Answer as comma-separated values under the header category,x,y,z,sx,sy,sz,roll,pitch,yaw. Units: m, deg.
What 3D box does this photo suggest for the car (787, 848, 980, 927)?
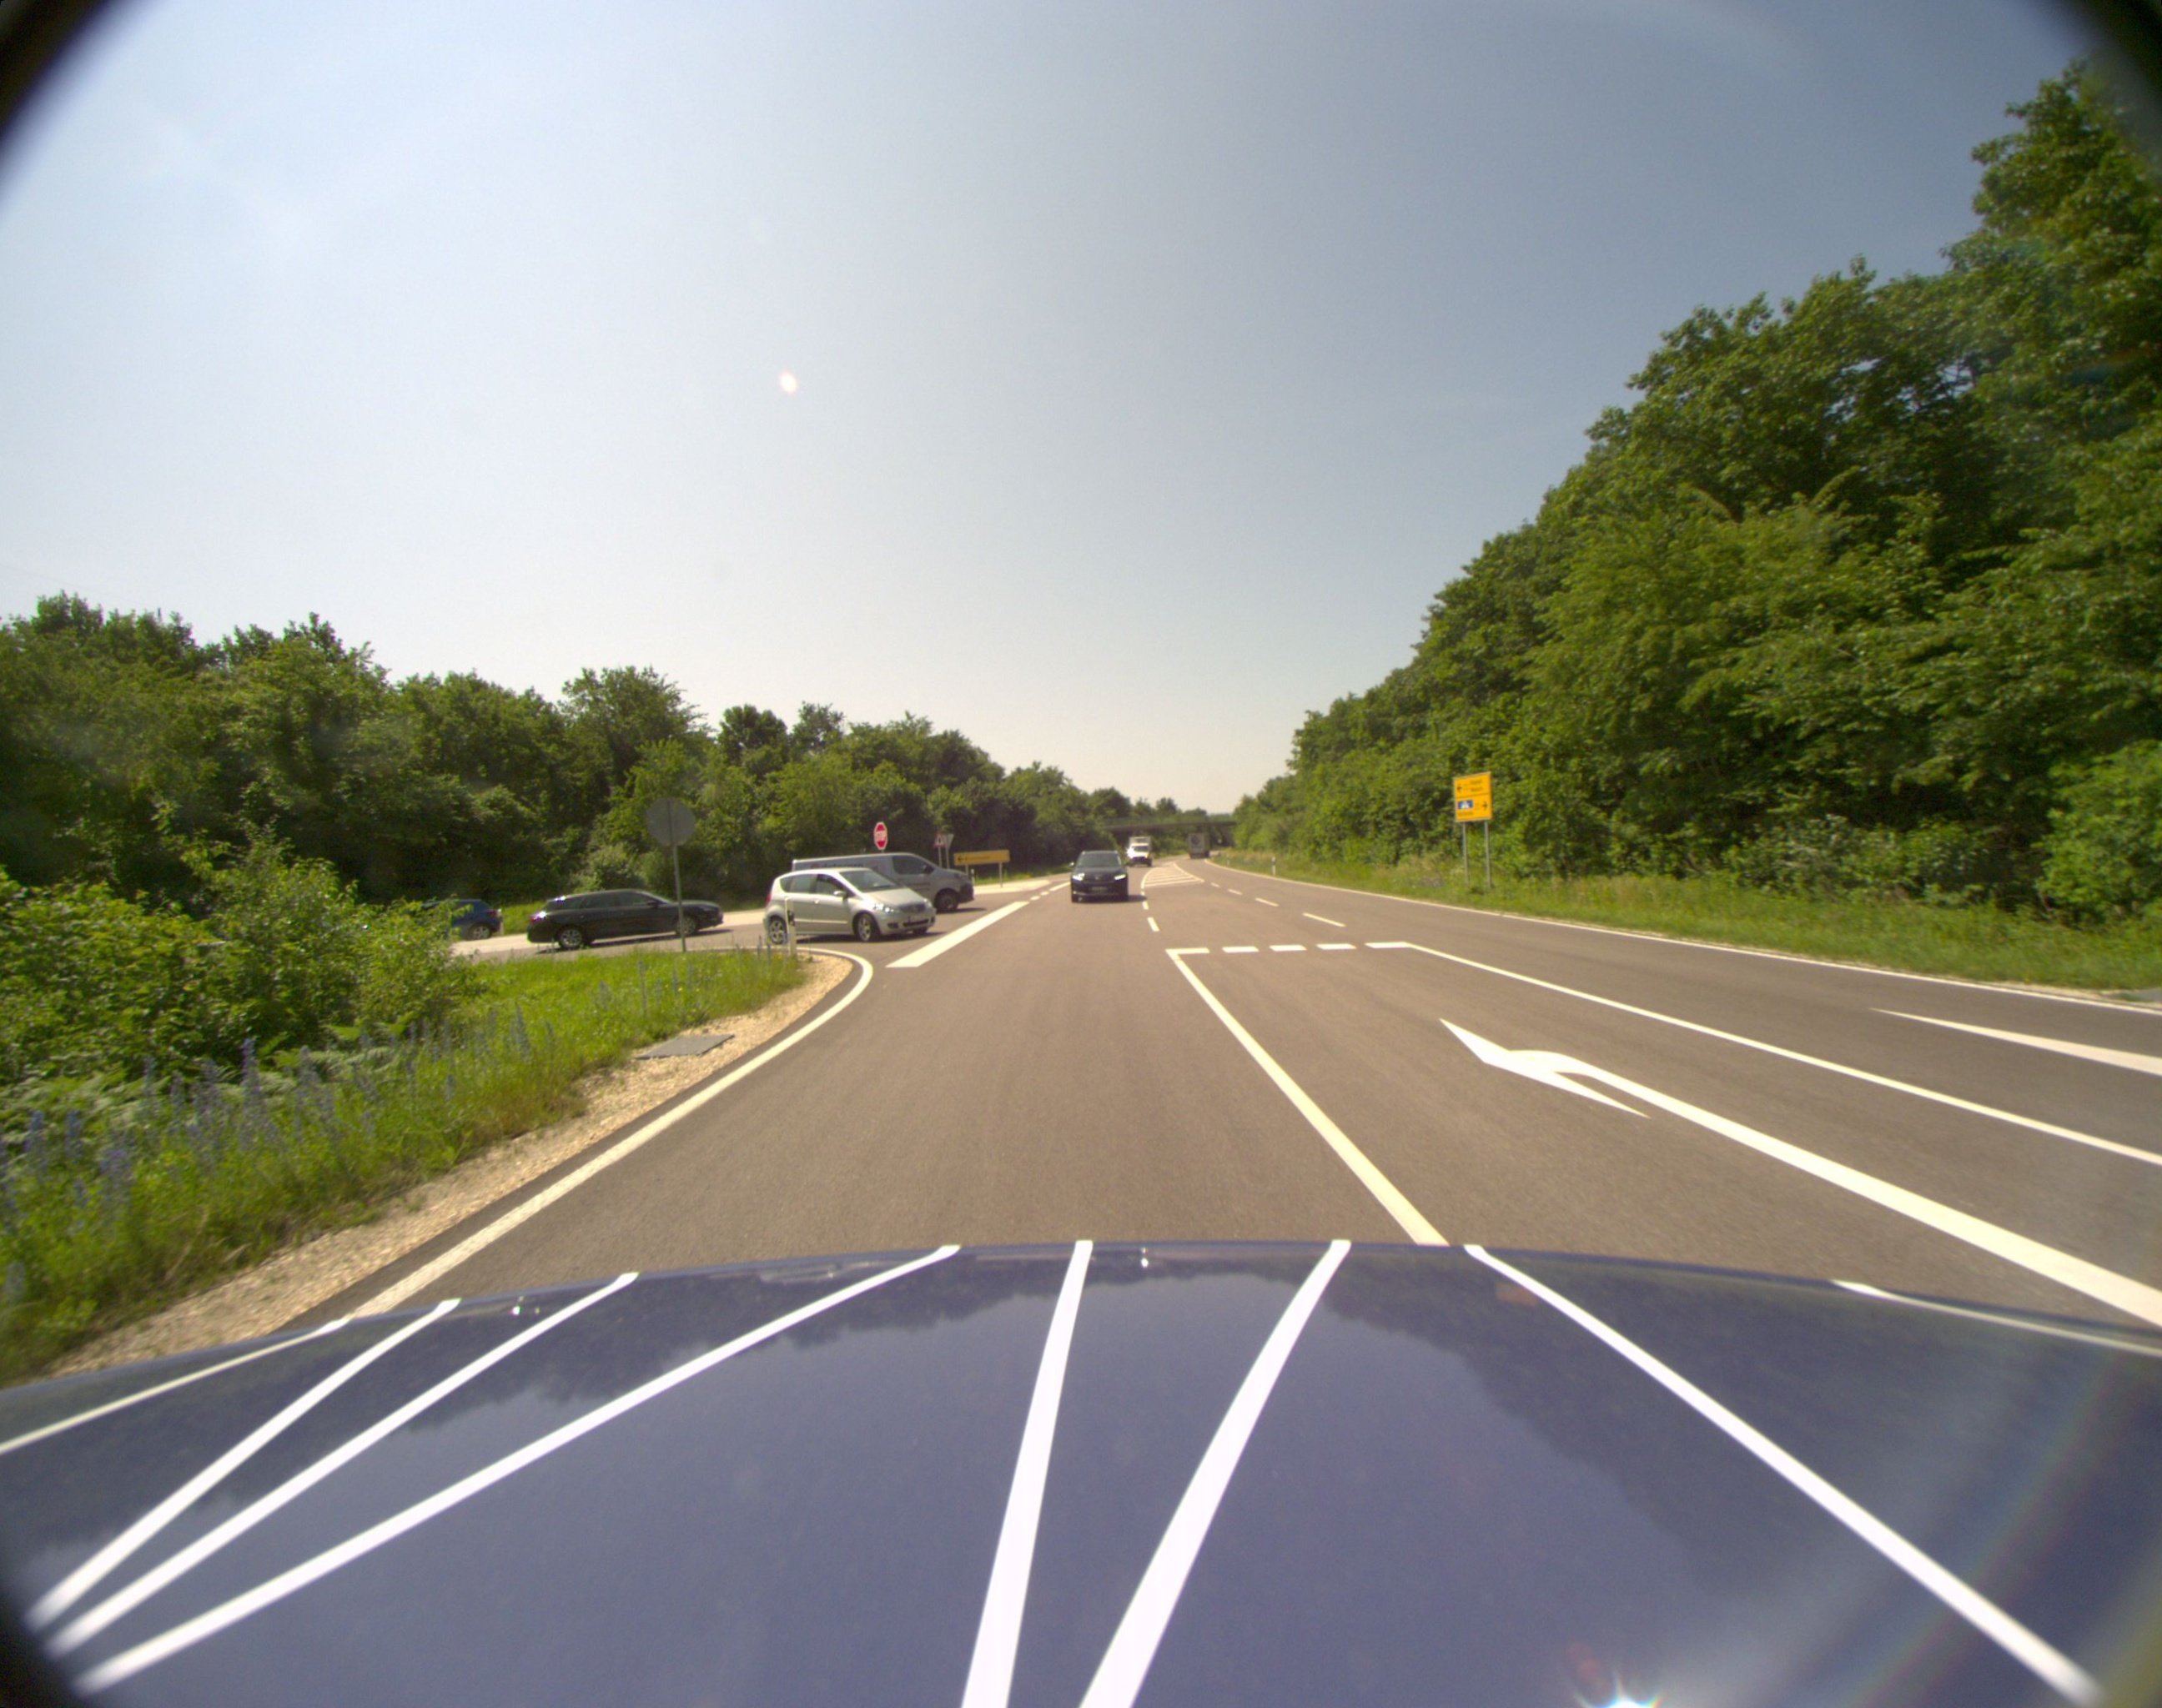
category,x,y,z,sx,sy,sz,roll,pitch,yaw
car,-5.830,0.924,22.718,5.233,1.896,2.010,-3,2,-16

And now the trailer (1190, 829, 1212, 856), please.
category,x,y,z,sx,sy,sz,roll,pitch,yaw
trailer,19.578,-1.875,123.758,2.832,4.072,9.008,-2,1,13

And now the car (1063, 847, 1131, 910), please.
category,x,y,z,sx,sy,sz,roll,pitch,yaw
car,0.525,0.693,24.876,1.924,1.711,5.478,-2,1,1

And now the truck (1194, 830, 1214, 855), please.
category,x,y,z,sx,sy,sz,roll,pitch,yaw
truck,21.534,-2.033,132.417,2.802,4.072,11.072,-2,1,12

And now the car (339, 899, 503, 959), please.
category,x,y,z,sx,sy,sz,roll,pitch,yaw
car,-21.927,2.442,25.394,3.952,1.532,1.805,-3,-1,-41

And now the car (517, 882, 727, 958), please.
category,x,y,z,sx,sy,sz,roll,pitch,yaw
car,-12.325,1.719,20.805,4.567,1.465,1.865,-5,1,-21

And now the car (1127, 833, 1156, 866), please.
category,x,y,z,sx,sy,sz,roll,pitch,yaw
car,5.956,-0.500,74.973,2.591,3.047,6.883,-2,1,5

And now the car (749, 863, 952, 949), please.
category,x,y,z,sx,sy,sz,roll,pitch,yaw
car,-5.036,1.133,16.541,3.985,1.570,1.849,-5,-1,28
